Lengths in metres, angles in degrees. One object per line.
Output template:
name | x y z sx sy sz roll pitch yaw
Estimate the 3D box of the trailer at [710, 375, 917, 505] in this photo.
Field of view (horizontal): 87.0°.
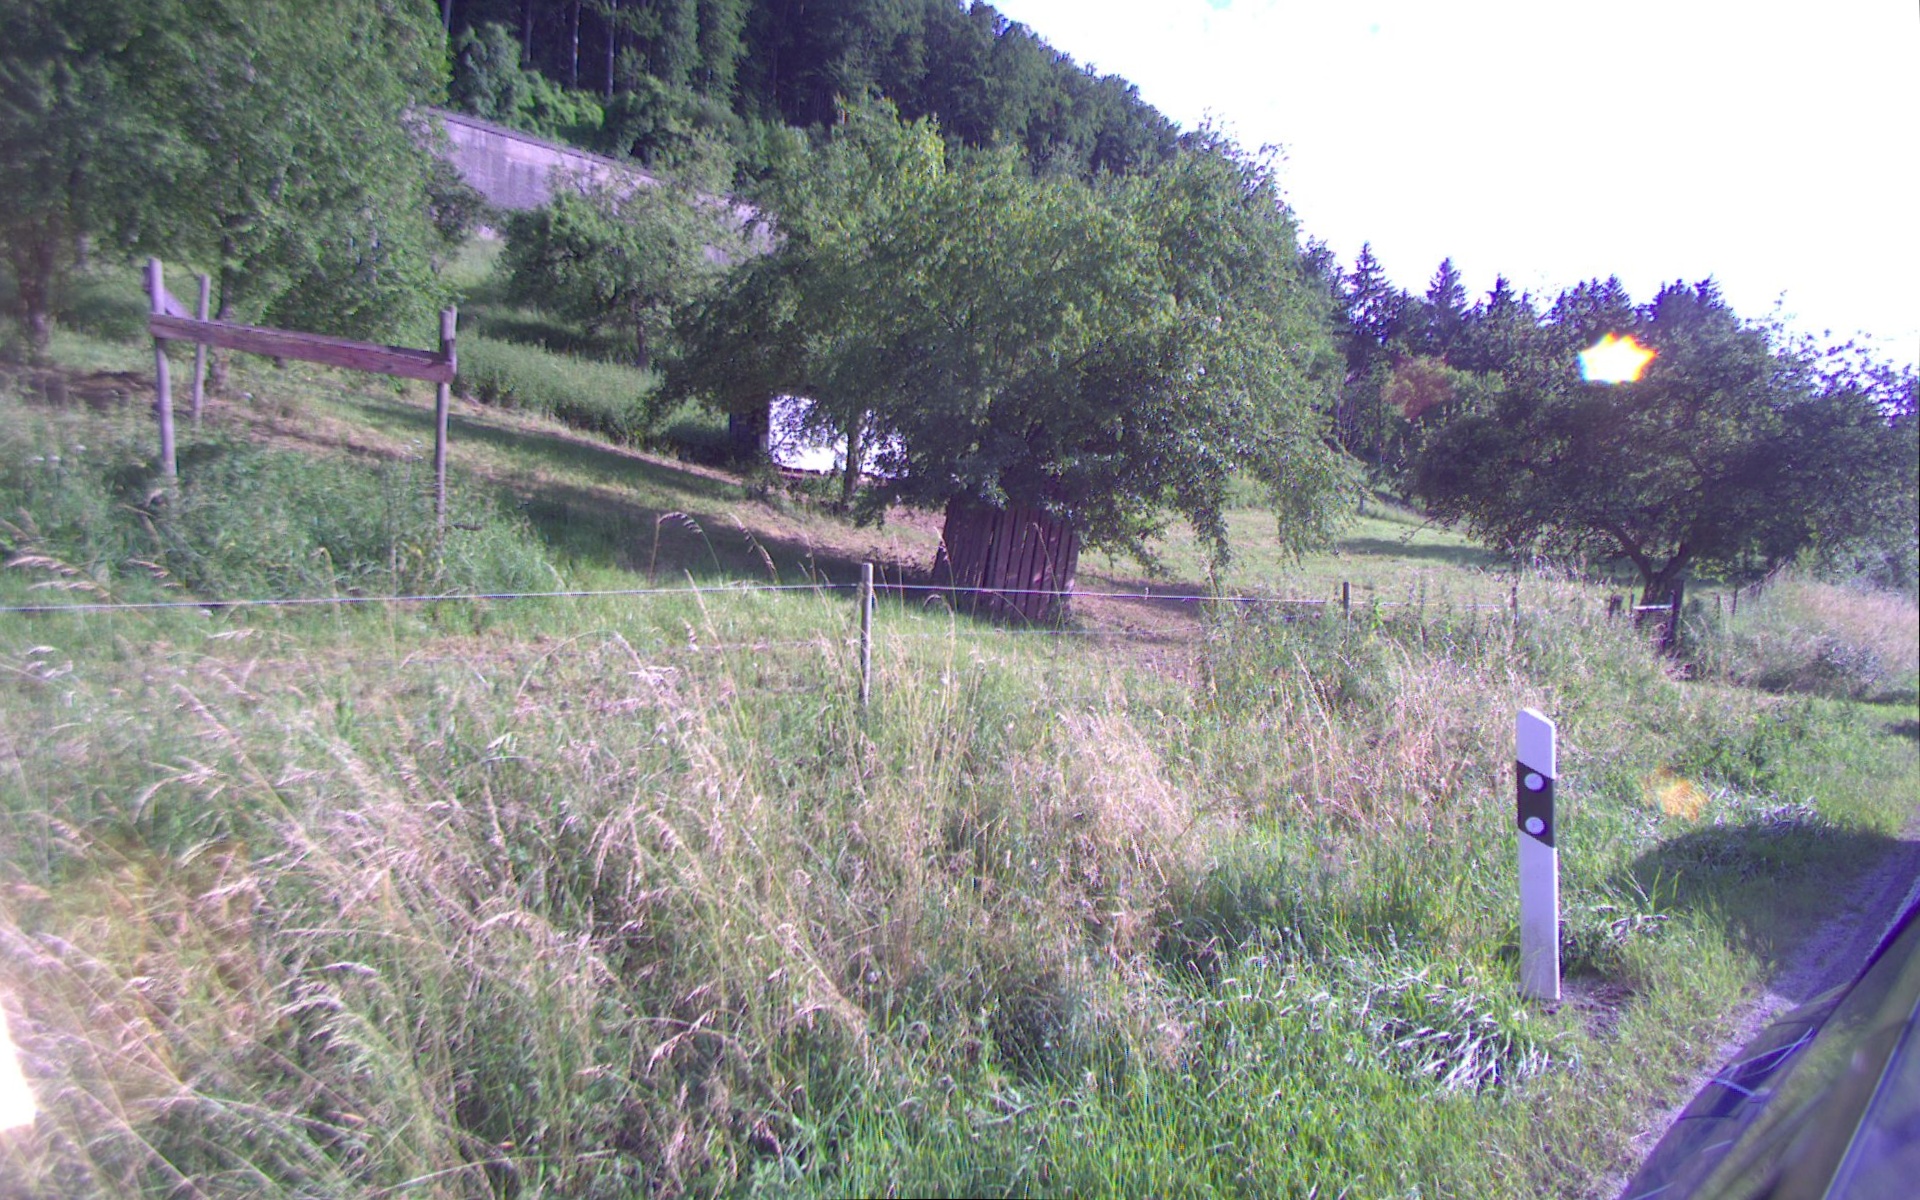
trailer | -3.863 -4.181 27.484 5.160 2.590 2.154 4 0 -45
